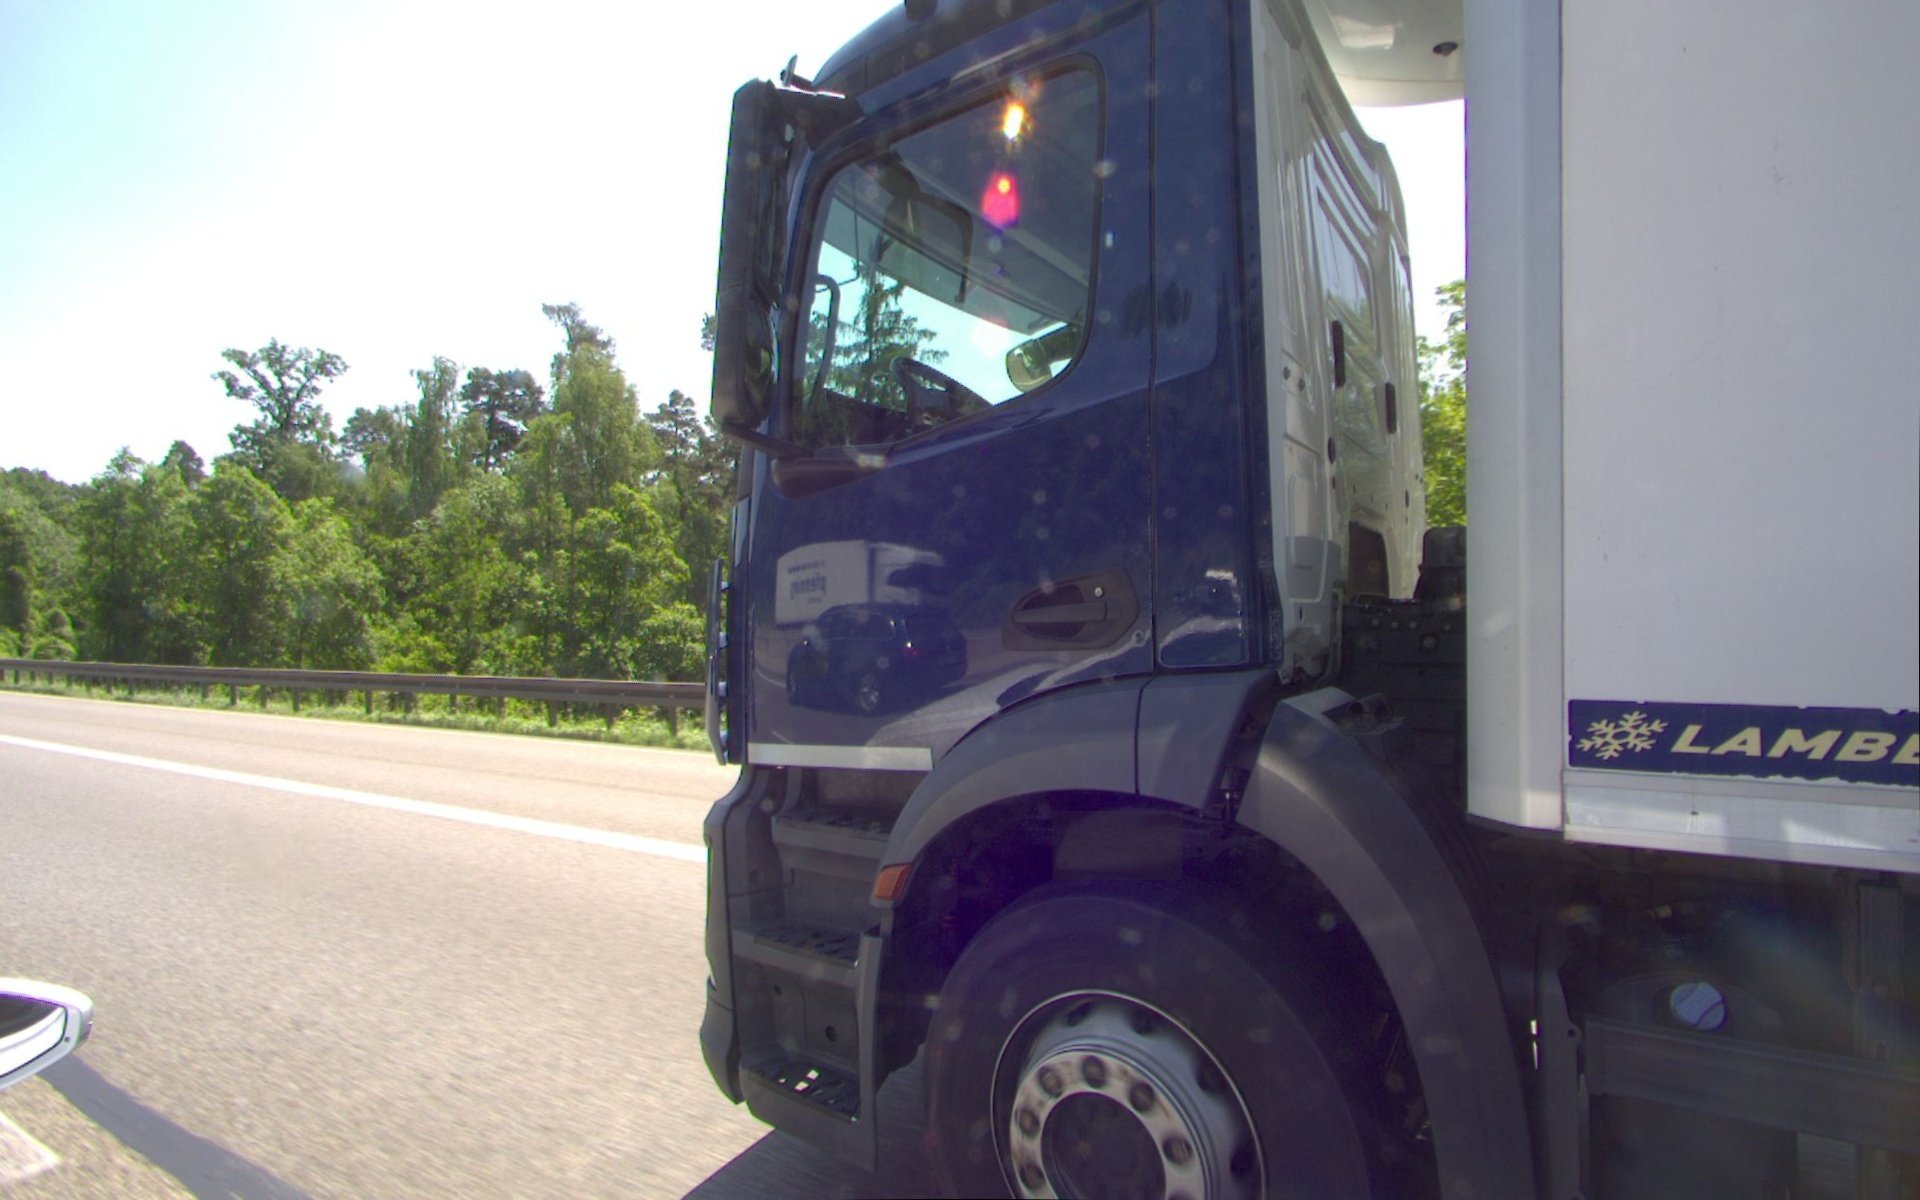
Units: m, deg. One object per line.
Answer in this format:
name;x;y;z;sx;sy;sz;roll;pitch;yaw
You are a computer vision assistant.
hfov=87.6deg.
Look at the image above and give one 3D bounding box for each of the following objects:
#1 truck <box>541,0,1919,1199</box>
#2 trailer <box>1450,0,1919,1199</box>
truck;1.375;0.013;2.381;4.048;2.978;2.550;-2;-1;34
trailer;4.584;-0.090;0.304;7.769;2.936;2.551;-1;-2;32
